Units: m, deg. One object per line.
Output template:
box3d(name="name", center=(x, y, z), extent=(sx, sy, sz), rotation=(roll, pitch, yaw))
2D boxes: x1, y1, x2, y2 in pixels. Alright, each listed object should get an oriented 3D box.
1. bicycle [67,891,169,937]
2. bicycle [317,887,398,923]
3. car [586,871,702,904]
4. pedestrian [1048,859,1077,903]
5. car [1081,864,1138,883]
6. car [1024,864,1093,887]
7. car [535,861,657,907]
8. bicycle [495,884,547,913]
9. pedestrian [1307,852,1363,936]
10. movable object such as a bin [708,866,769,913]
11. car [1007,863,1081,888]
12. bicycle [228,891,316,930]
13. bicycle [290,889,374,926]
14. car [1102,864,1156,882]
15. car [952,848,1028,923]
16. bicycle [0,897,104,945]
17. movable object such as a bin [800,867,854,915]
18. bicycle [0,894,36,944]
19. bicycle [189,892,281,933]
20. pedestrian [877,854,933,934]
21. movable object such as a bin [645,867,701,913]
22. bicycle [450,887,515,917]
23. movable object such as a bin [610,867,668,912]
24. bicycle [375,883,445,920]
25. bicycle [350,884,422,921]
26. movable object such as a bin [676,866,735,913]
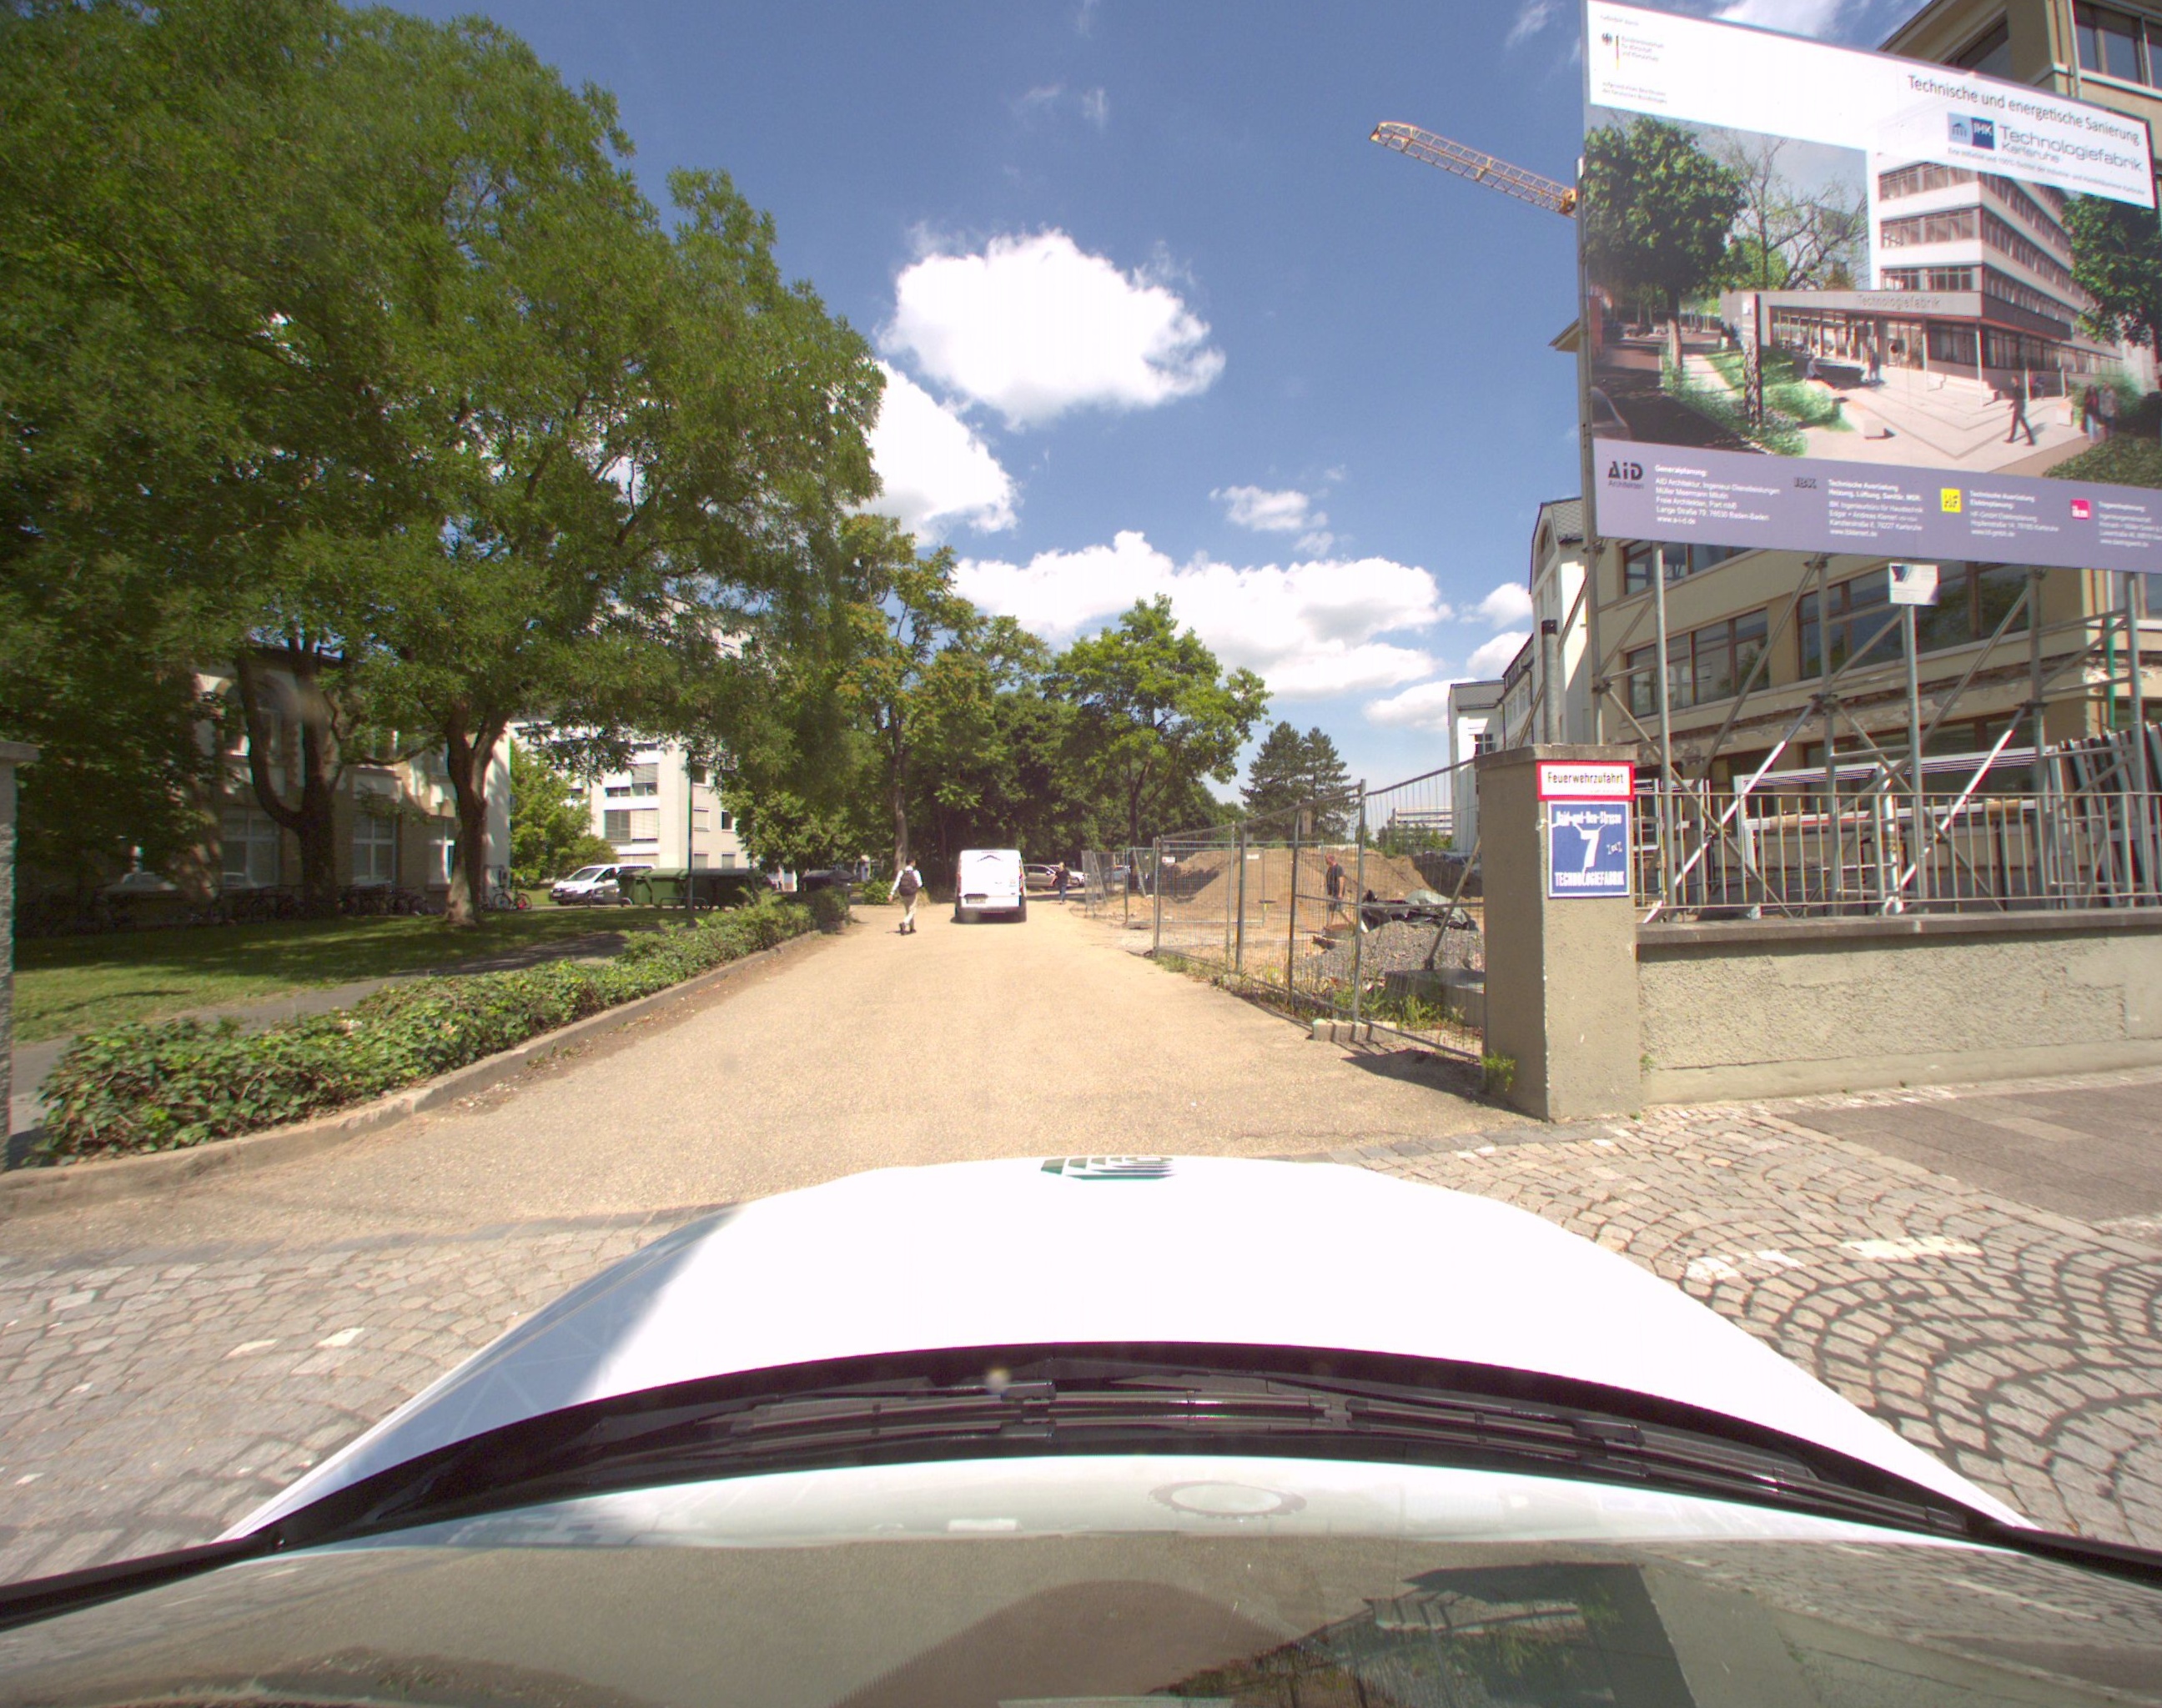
box3d(name="bicycle", center=(-22.430, 1.379, 18.963), extent=(2.236, 1.011, 0.610), rotation=(-1, -1, 15))
box3d(name="bicycle", center=(-21.048, 1.471, 23.701), extent=(2.236, 1.011, 0.610), rotation=(-1, -1, 15))
box3d(name="car", center=(-19.811, 1.491, 37.148), extent=(1.812, 1.352, 4.648), rotation=(-1, -1, 19))
box3d(name="pedestrian", center=(-0.709, 1.012, 31.448), extent=(1.031, 1.650, 1.049), rotation=(-1, 0, 1))
box3d(name="car", center=(2.410, 1.637, 68.533), extent=(4.469, 1.598, 1.733), rotation=(-1, 0, 18))
box3d(name="car", center=(-1.568, 1.487, 56.517), extent=(4.469, 1.531, 1.733), rotation=(-1, -1, 18))
box3d(name="car", center=(-22.686, 1.374, 38.334), extent=(1.977, 2.014, 4.797), rotation=(-2, -1, 19))
box3d(name="bicycle", center=(-19.397, 1.543, 28.216), extent=(1.709, 0.958, 0.617), rotation=(-1, -1, 20))
box3d(name="pedestrian", center=(5.674, 0.879, 18.225), extent=(0.961, 1.819, 0.870), rotation=(-1, -1, 0))
box3d(name="movable object such as a bin", center=(-11.011, 1.133, 26.195), extent=(1.311, 1.479, 1.213), rotation=(-1, -1, 16))
box3d(name="car", center=(-2.421, 1.468, 54.116), extent=(4.469, 1.609, 2.009), rotation=(-1, -3, 19))
box3d(name="bicycle", center=(-21.654, 1.497, 21.806), extent=(2.236, 1.011, 0.610), rotation=(-1, -1, 15))
box3d(name="bicycle", center=(-21.211, 1.500, 23.061), extent=(2.236, 1.011, 0.610), rotation=(-1, -1, 15))
box3d(name="car", center=(4.376, 1.730, 73.833), extent=(4.469, 1.598, 1.946), rotation=(-1, -1, 18))
box3d(name="car", center=(-2.647, 0.875, 23.895), extent=(1.970, 1.947, 4.570), rotation=(-1, -1, -6))
box3d(name="bicycle", center=(-22.903, 1.474, 18.010), extent=(2.238, 1.011, 0.609), rotation=(-1, -1, 10))
box3d(name="movable object such as a bin", center=(-7.742, 1.097, 24.818), extent=(1.146, 1.394, 1.123), rotation=(-2, -1, 42))
box3d(name="bicycle", center=(-23.263, 1.359, 17.119), extent=(2.238, 1.011, 0.609), rotation=(-1, -1, 10))
box3d(name="bicycle", center=(-21.900, 1.495, 21.082), extent=(2.236, 1.011, 0.610), rotation=(-1, -1, 15))
box3d(name="pedestrian", center=(-3.941, 0.883, 18.311), extent=(0.868, 1.729, 1.083), rotation=(-1, 0, 9))
box3d(name="movable object such as a bin", center=(-13.570, 1.176, 27.107), extent=(1.247, 1.479, 1.053), rotation=(-1, -1, 19))
box3d(name="bicycle", center=(-19.886, 1.581, 27.063), extent=(2.233, 0.958, 0.610), rotation=(-1, -1, 20))
box3d(name="movable object such as a bin", center=(-14.966, 1.199, 27.583), extent=(1.394, 1.479, 1.053), rotation=(-1, -1, 19))
box3d(name="bicycle", center=(-20.627, 1.443, 25.043), extent=(2.233, 1.082, 0.610), rotation=(-1, -1, 20))
box3d(name="bicycle", center=(-20.878, 1.440, 24.446), extent=(2.233, 1.082, 0.610), rotation=(-1, -1, 20))
box3d(name="movable object such as a bin", center=(-12.259, 1.153, 26.627), extent=(1.348, 1.479, 1.099), rotation=(-1, -1, 8))
